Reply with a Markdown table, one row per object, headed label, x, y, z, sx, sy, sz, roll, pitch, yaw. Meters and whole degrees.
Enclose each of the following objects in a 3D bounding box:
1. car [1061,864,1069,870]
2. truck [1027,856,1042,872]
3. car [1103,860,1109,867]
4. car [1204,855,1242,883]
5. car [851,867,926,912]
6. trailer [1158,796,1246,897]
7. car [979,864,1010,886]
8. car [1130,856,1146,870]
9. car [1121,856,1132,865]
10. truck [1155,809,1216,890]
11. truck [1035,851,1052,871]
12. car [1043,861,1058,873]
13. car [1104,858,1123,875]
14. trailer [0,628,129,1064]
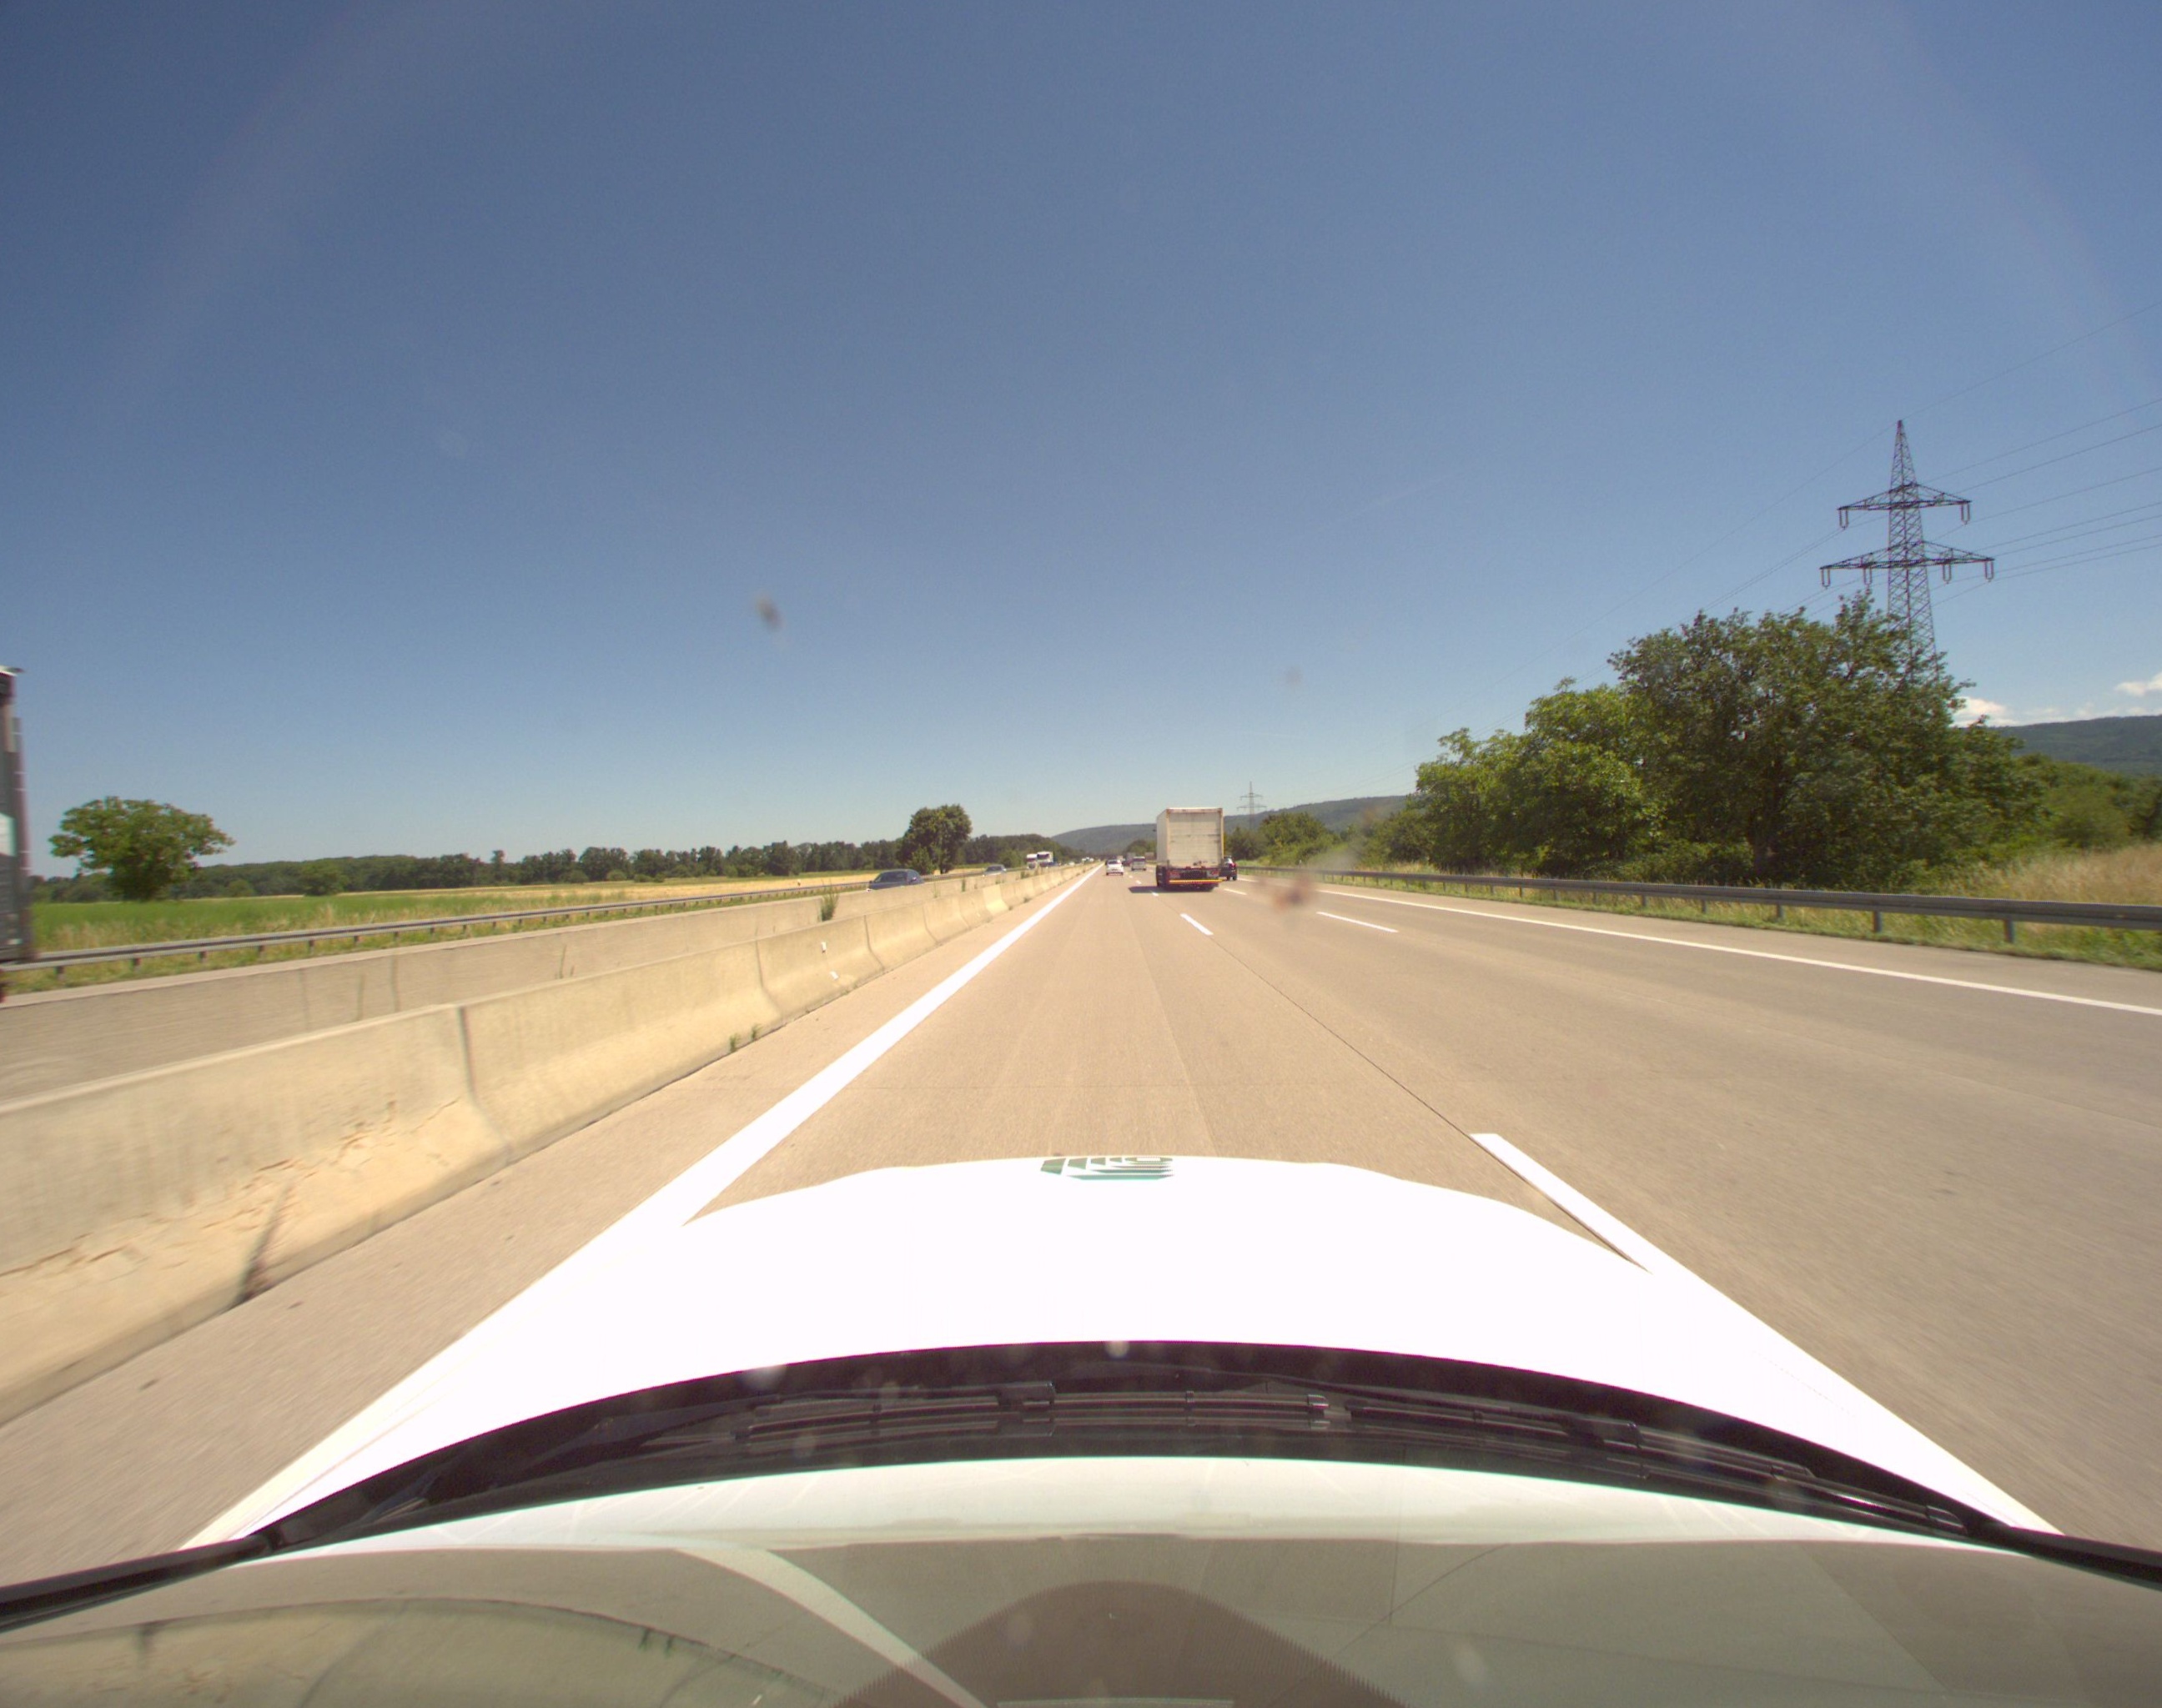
| label | x | y | z | sx | sy | sz | roll | pitch | yaw |
| --- | --- | --- | --- | --- | --- | --- | --- | --- | --- |
| car | -4.698 | 3.749 | 241.507 | 1.986 | 1.717 | 5.027 | 0 | 0 | 2 |
| truck | -10.599 | 2.262 | 186.283 | 2.792 | 3.687 | 7.239 | -1 | -1 | 2 |
| car | 7.055 | 2.728 | 230.136 | 1.922 | 1.794 | 4.001 | -1 | -1 | 1 |
| car | 9.719 | 1.002 | 55.893 | 1.986 | 1.849 | 4.001 | 1 | 0 | 1 |
| car | -7.840 | 1.394 | 33.645 | 1.898 | 1.651 | 4.933 | -1 | 0 | 0 |
| trailer | 5.149 | -0.246 | 36.531 | 2.571 | 3.878 | 10.374 | -1 | 0 | 1 |
| car | -6.877 | 1.641 | 65.269 | 1.875 | 1.695 | 4.684 | -1 | 0 | 2 |
| car | 7.778 | 1.270 | 110.519 | 1.986 | 1.849 | 4.001 | 0 | -1 | 1 |
| car | 9.479 | 1.321 | 169.645 | 1.987 | 1.849 | 4.000 | 1 | 0 | 0 |
| truck | 5.283 | -0.205 | 41.916 | 2.572 | 3.878 | 4.985 | -1 | -1 | 1 |
| truck | -7.364 | 1.350 | 160.531 | 2.890 | 3.970 | 5.047 | -1 | -1 | 1 |
| car | -4.614 | 1.988 | 124.662 | 1.856 | 1.729 | 4.143 | -1 | 0 | 3 |
| car | 3.199 | 1.238 | 81.628 | 1.813 | 1.662 | 4.001 | -1 | 0 | 1 |
| trailer | -12.893 | -0.069 | 2.180 | 3.255 | 4.476 | 14.456 | -3 | -1 | 2 |
